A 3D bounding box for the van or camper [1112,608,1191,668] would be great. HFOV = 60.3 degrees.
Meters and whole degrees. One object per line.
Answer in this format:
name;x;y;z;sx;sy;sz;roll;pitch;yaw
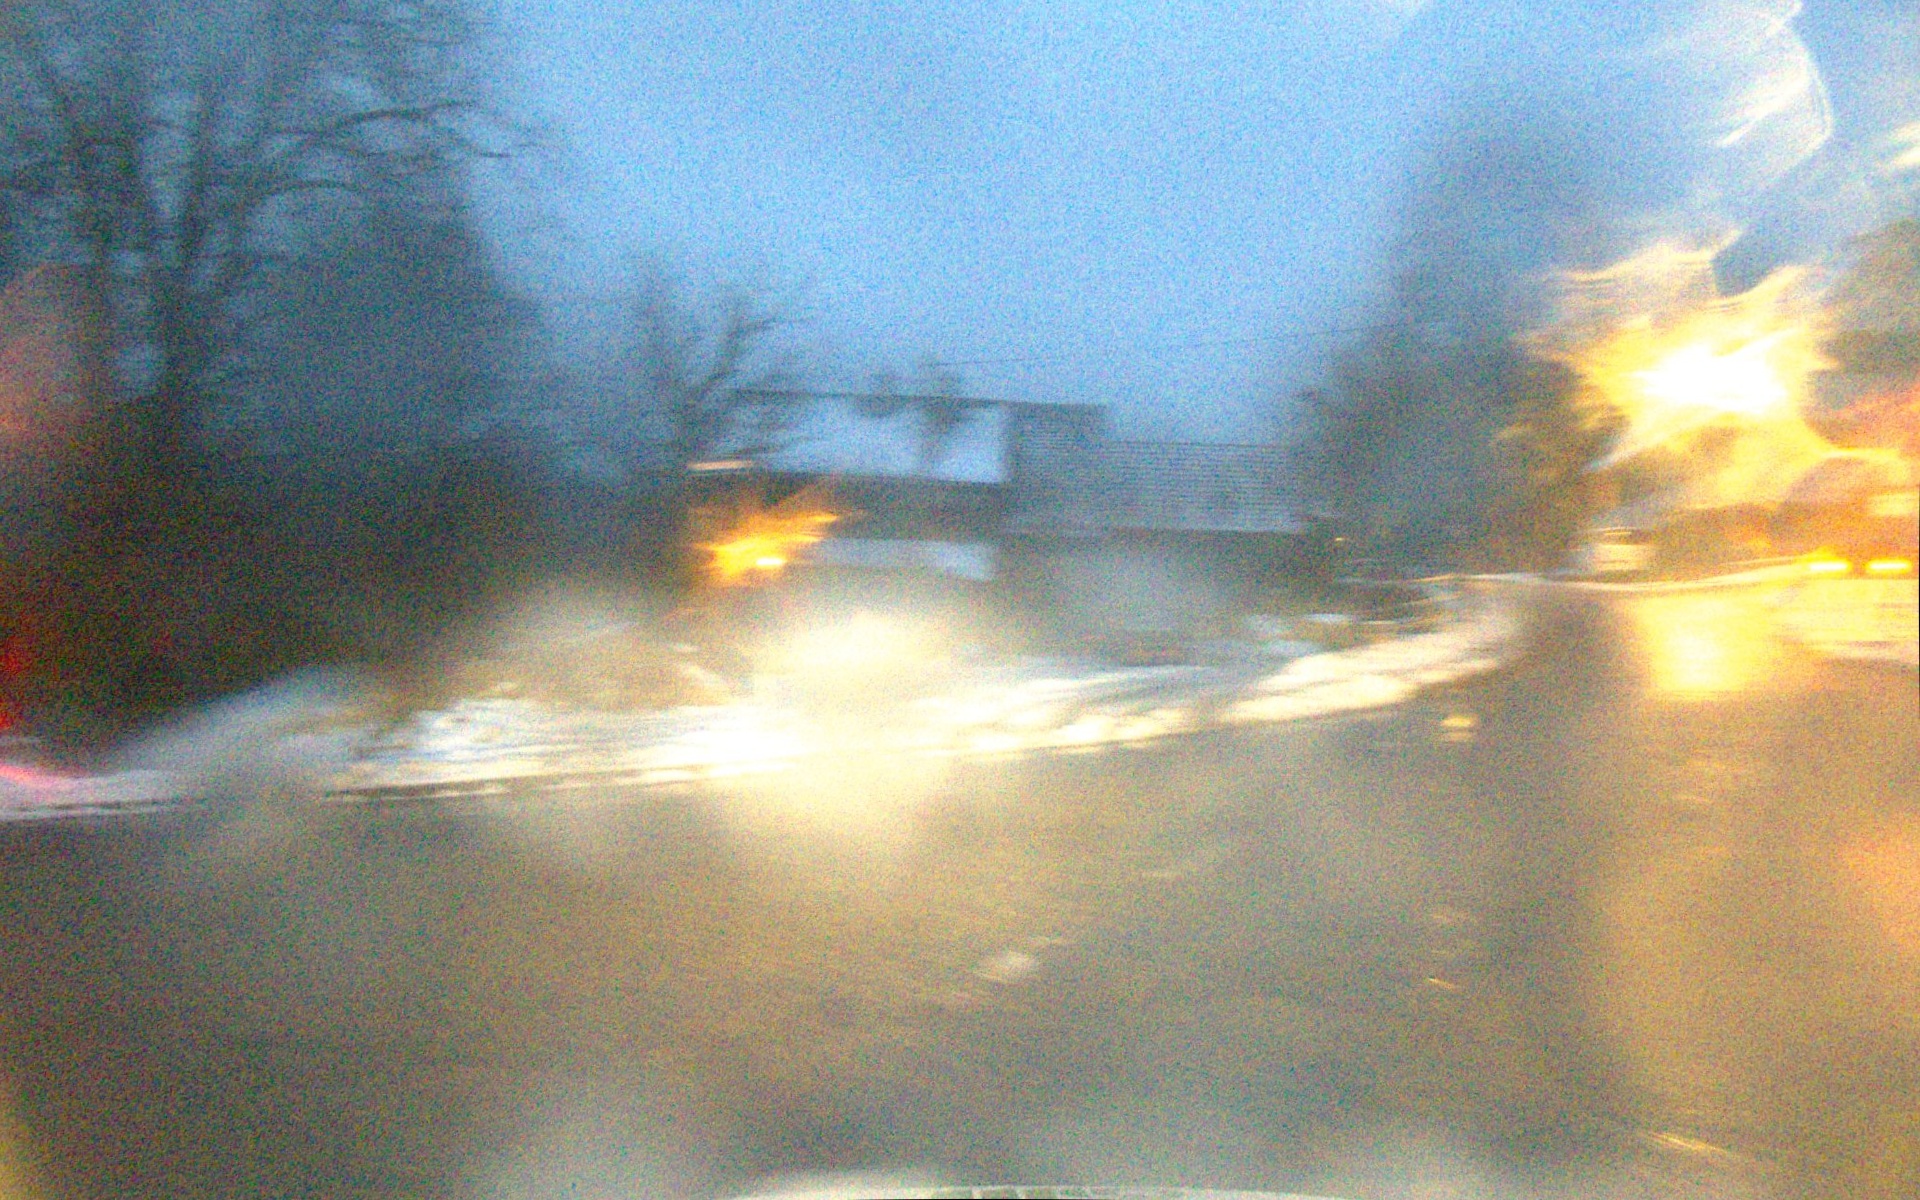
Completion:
van or camper;3.818;0.774;33.341;1.256;1.121;3.273;2;-2;1
